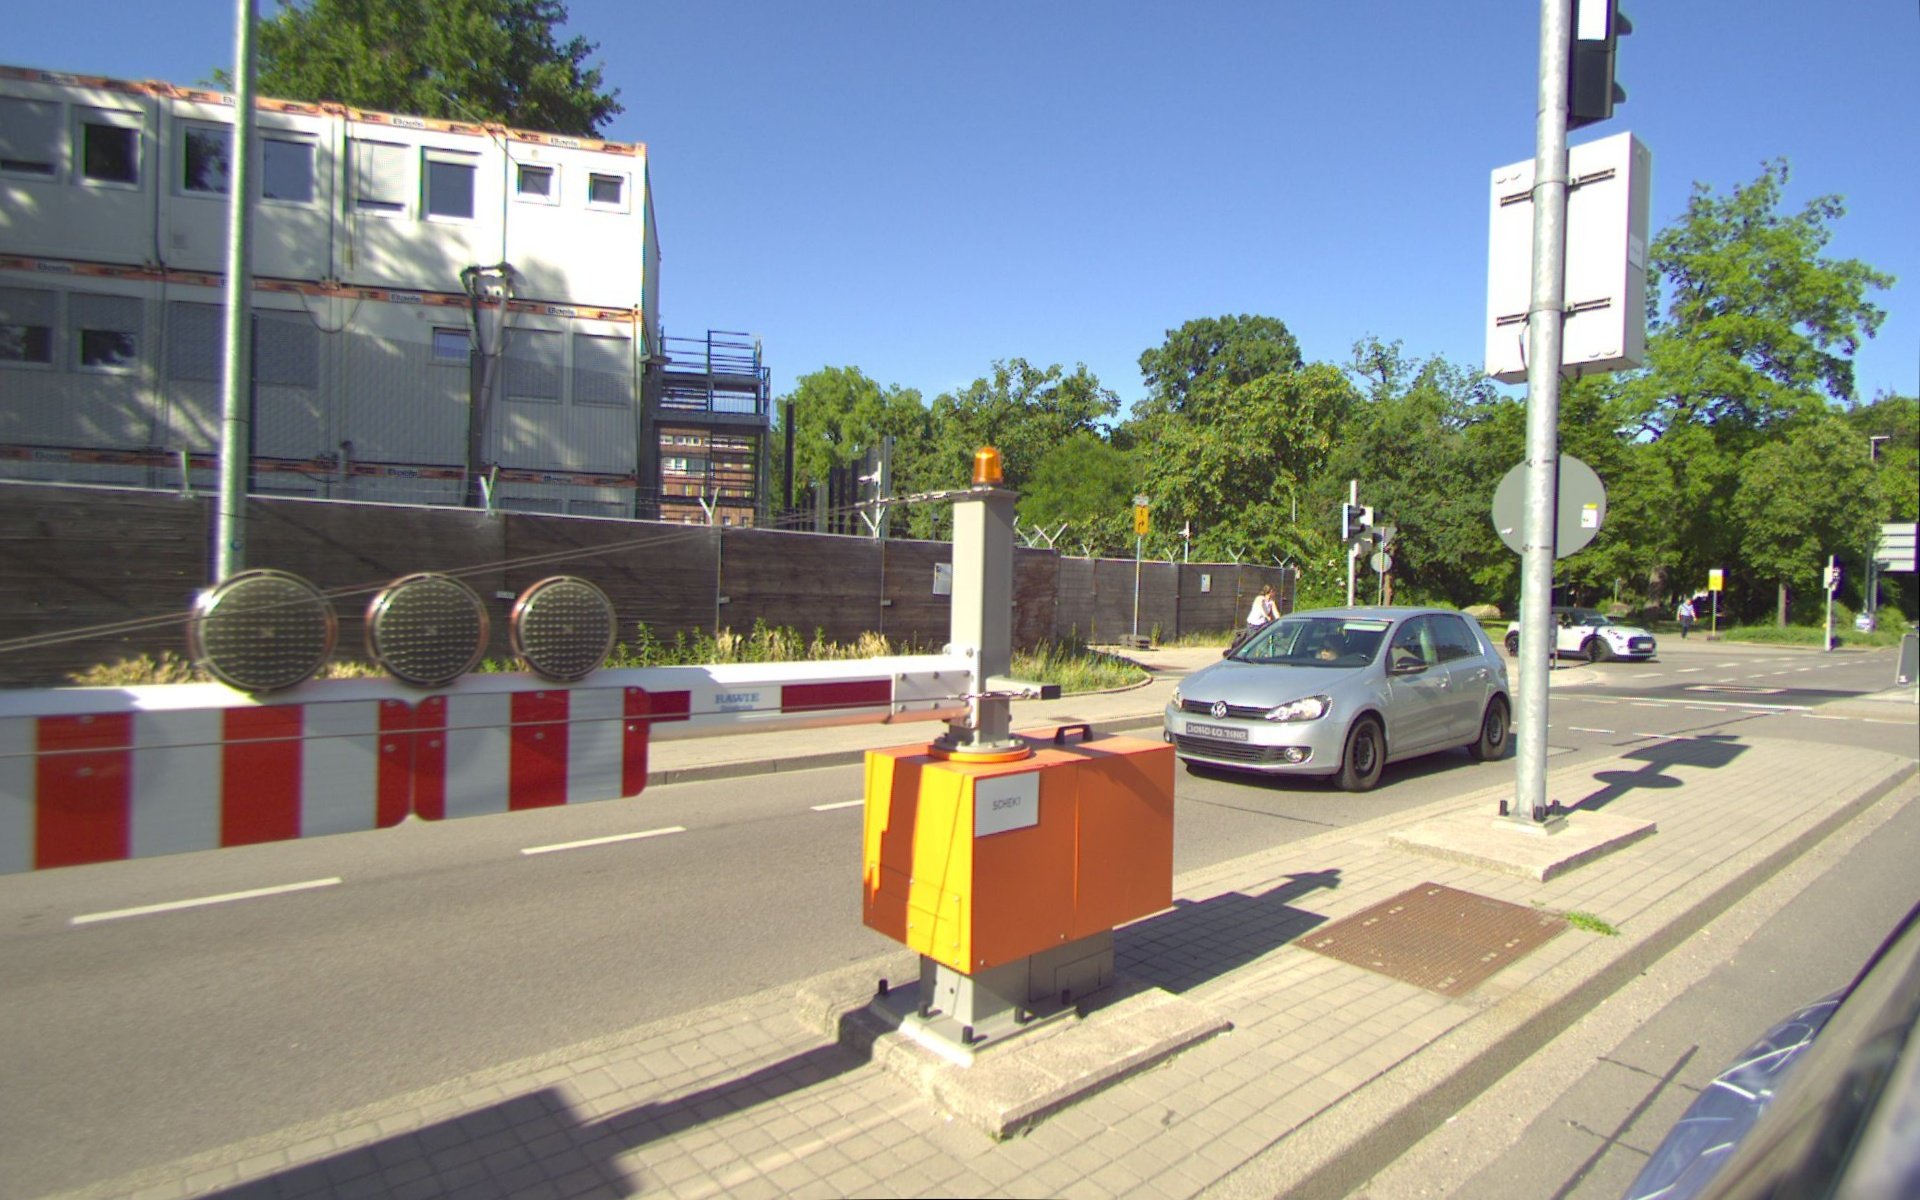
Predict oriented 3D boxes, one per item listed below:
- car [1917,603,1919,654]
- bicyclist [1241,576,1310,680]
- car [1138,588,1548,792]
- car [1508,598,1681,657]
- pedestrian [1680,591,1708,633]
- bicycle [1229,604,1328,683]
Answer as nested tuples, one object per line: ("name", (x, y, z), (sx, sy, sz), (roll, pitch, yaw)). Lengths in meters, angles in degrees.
("car", (29.115, 0.820, 29.225), (3.931, 1.442, 1.837), (0, 1, -42))
("bicyclist", (5.288, 0.453, 17.008), (0.728, 1.694, 0.854), (1, 1, -10))
("car", (3.623, 0.649, 9.304), (3.926, 1.493, 1.703), (0, 1, -37))
("car", (17.241, 0.694, 27.703), (1.735, 1.454, 3.720), (0, 1, -20))
("pedestrian", (30.920, 0.496, 42.637), (0.729, 1.724, 0.869), (0, 0, 20))
("bicycle", (5.294, 0.691, 16.973), (0.591, 1.126, 2.129), (2, 3, -11))
